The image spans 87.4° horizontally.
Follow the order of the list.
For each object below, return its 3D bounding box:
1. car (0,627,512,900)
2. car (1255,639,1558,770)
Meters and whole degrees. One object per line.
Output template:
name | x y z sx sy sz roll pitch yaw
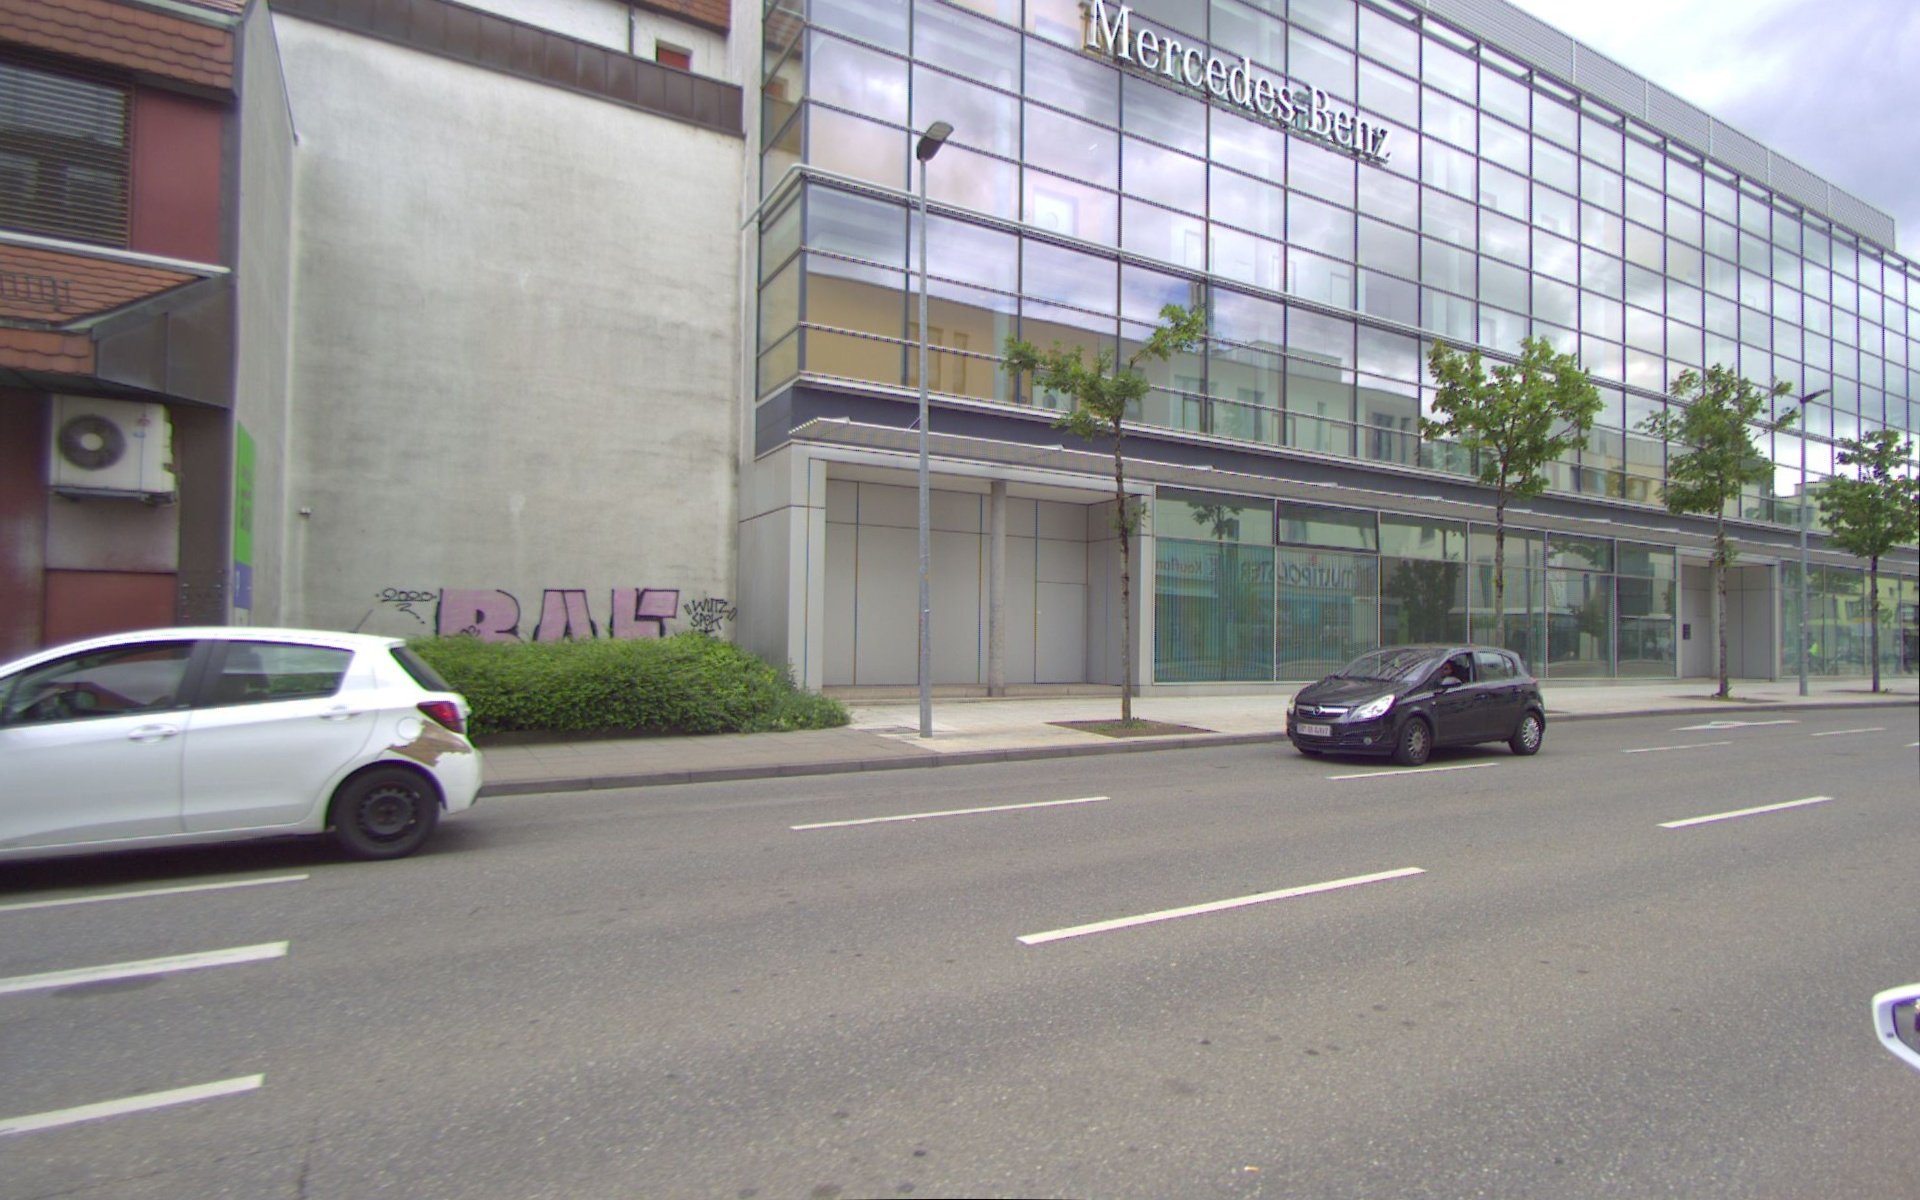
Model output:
car | -5.147 0.937 6.507 3.953 1.484 1.652 1 -3 -30
car | 5.933 1.275 13.260 3.953 1.499 1.652 1 -3 -30
